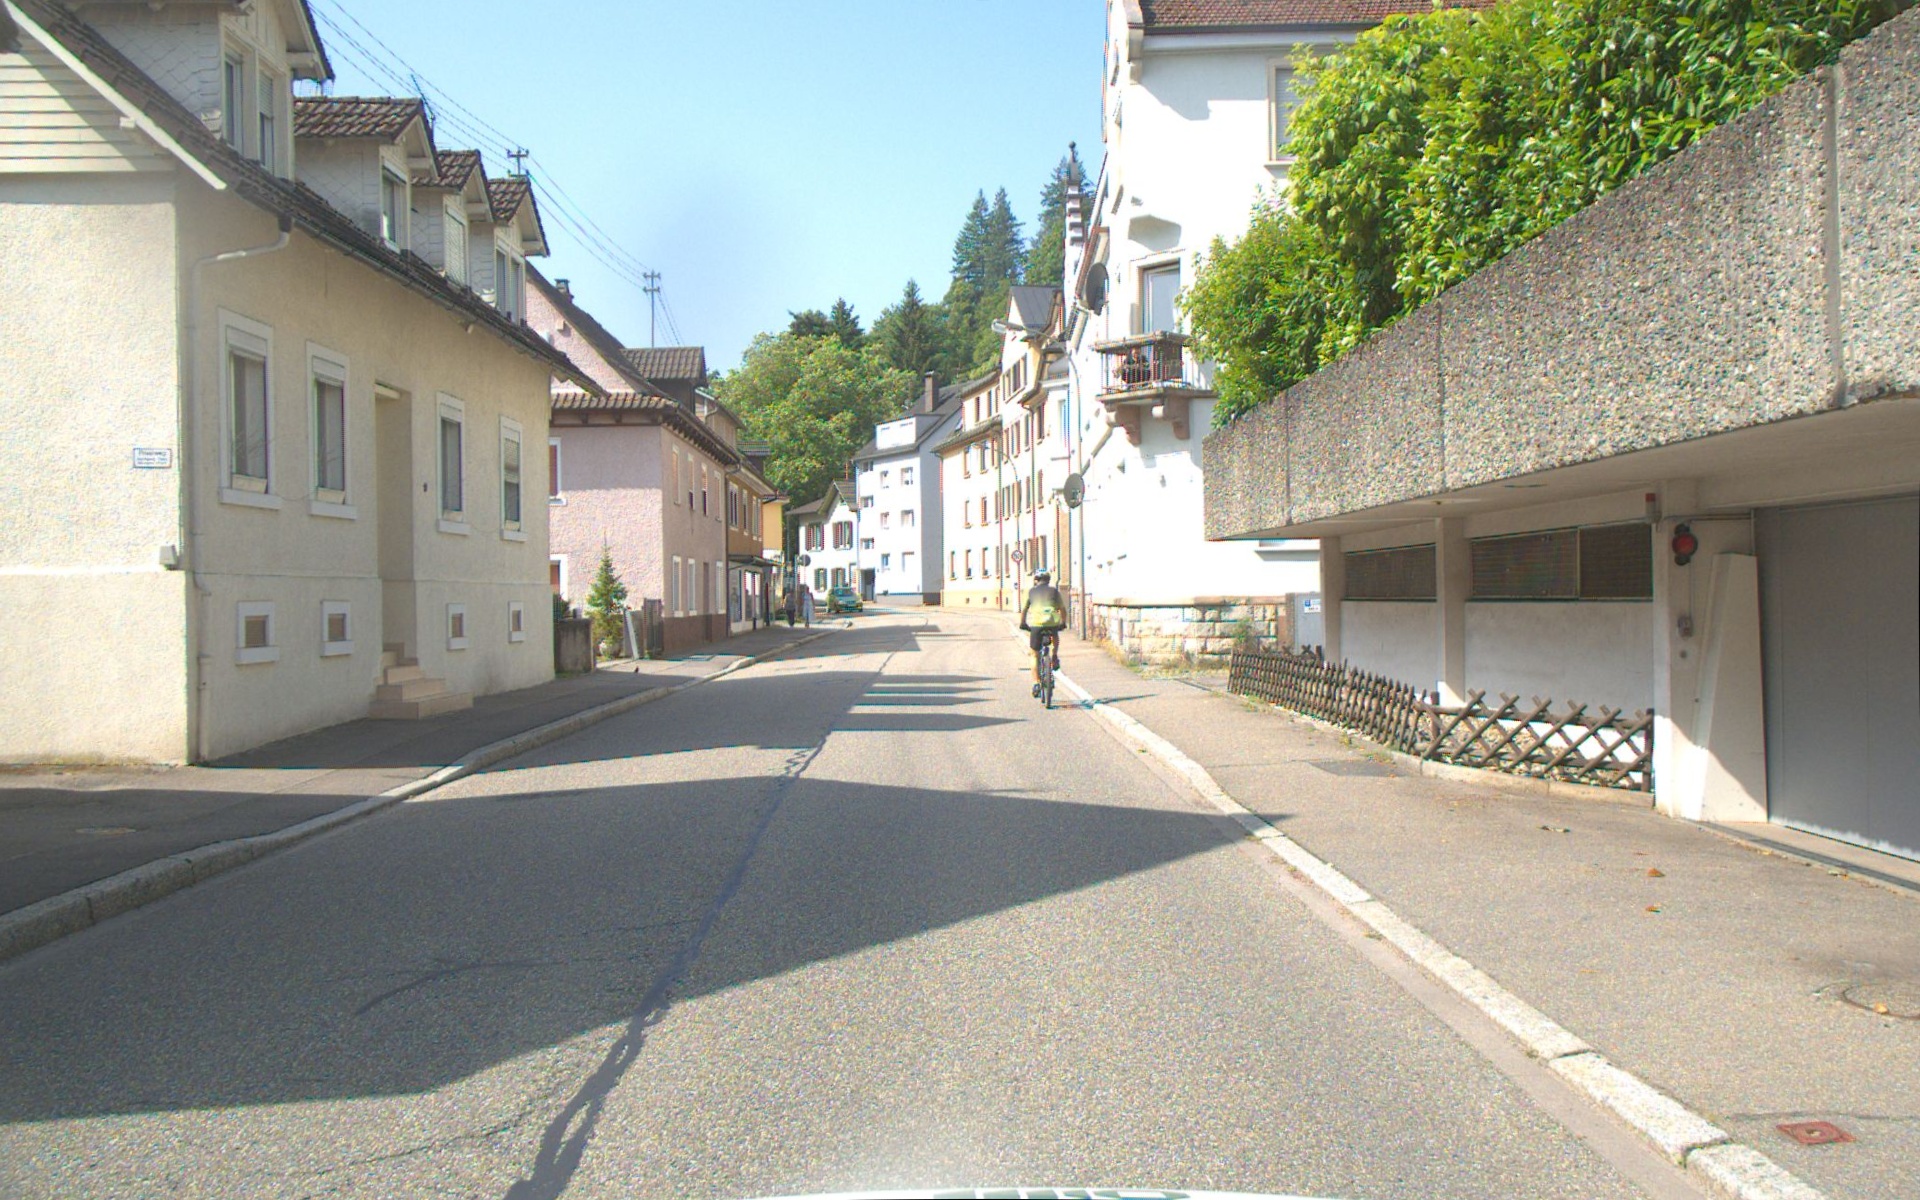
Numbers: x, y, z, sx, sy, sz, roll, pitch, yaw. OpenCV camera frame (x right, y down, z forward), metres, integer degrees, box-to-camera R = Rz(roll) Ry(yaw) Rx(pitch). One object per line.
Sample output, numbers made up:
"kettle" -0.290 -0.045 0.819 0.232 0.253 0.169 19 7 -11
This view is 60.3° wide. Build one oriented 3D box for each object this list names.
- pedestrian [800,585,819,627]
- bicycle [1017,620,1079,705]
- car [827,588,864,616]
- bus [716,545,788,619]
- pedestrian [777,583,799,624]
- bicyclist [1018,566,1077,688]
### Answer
"pedestrian" -6.038 0.249 66.451 0.626 1.654 0.777 2 0 0
"bicycle" 1.155 0.807 21.877 0.684 1.053 1.470 0 1 -2
"car" -6.764 0.143 97.527 1.569 1.489 3.648 -4 0 -12
"bus" -9.824 -0.861 78.902 2.764 3.284 9.030 1 0 -3
"pedestrian" -6.913 0.126 66.397 0.720 1.592 0.824 2 0 0
"bicyclist" 1.141 0.354 21.761 0.672 1.558 0.715 -2 0 -2
